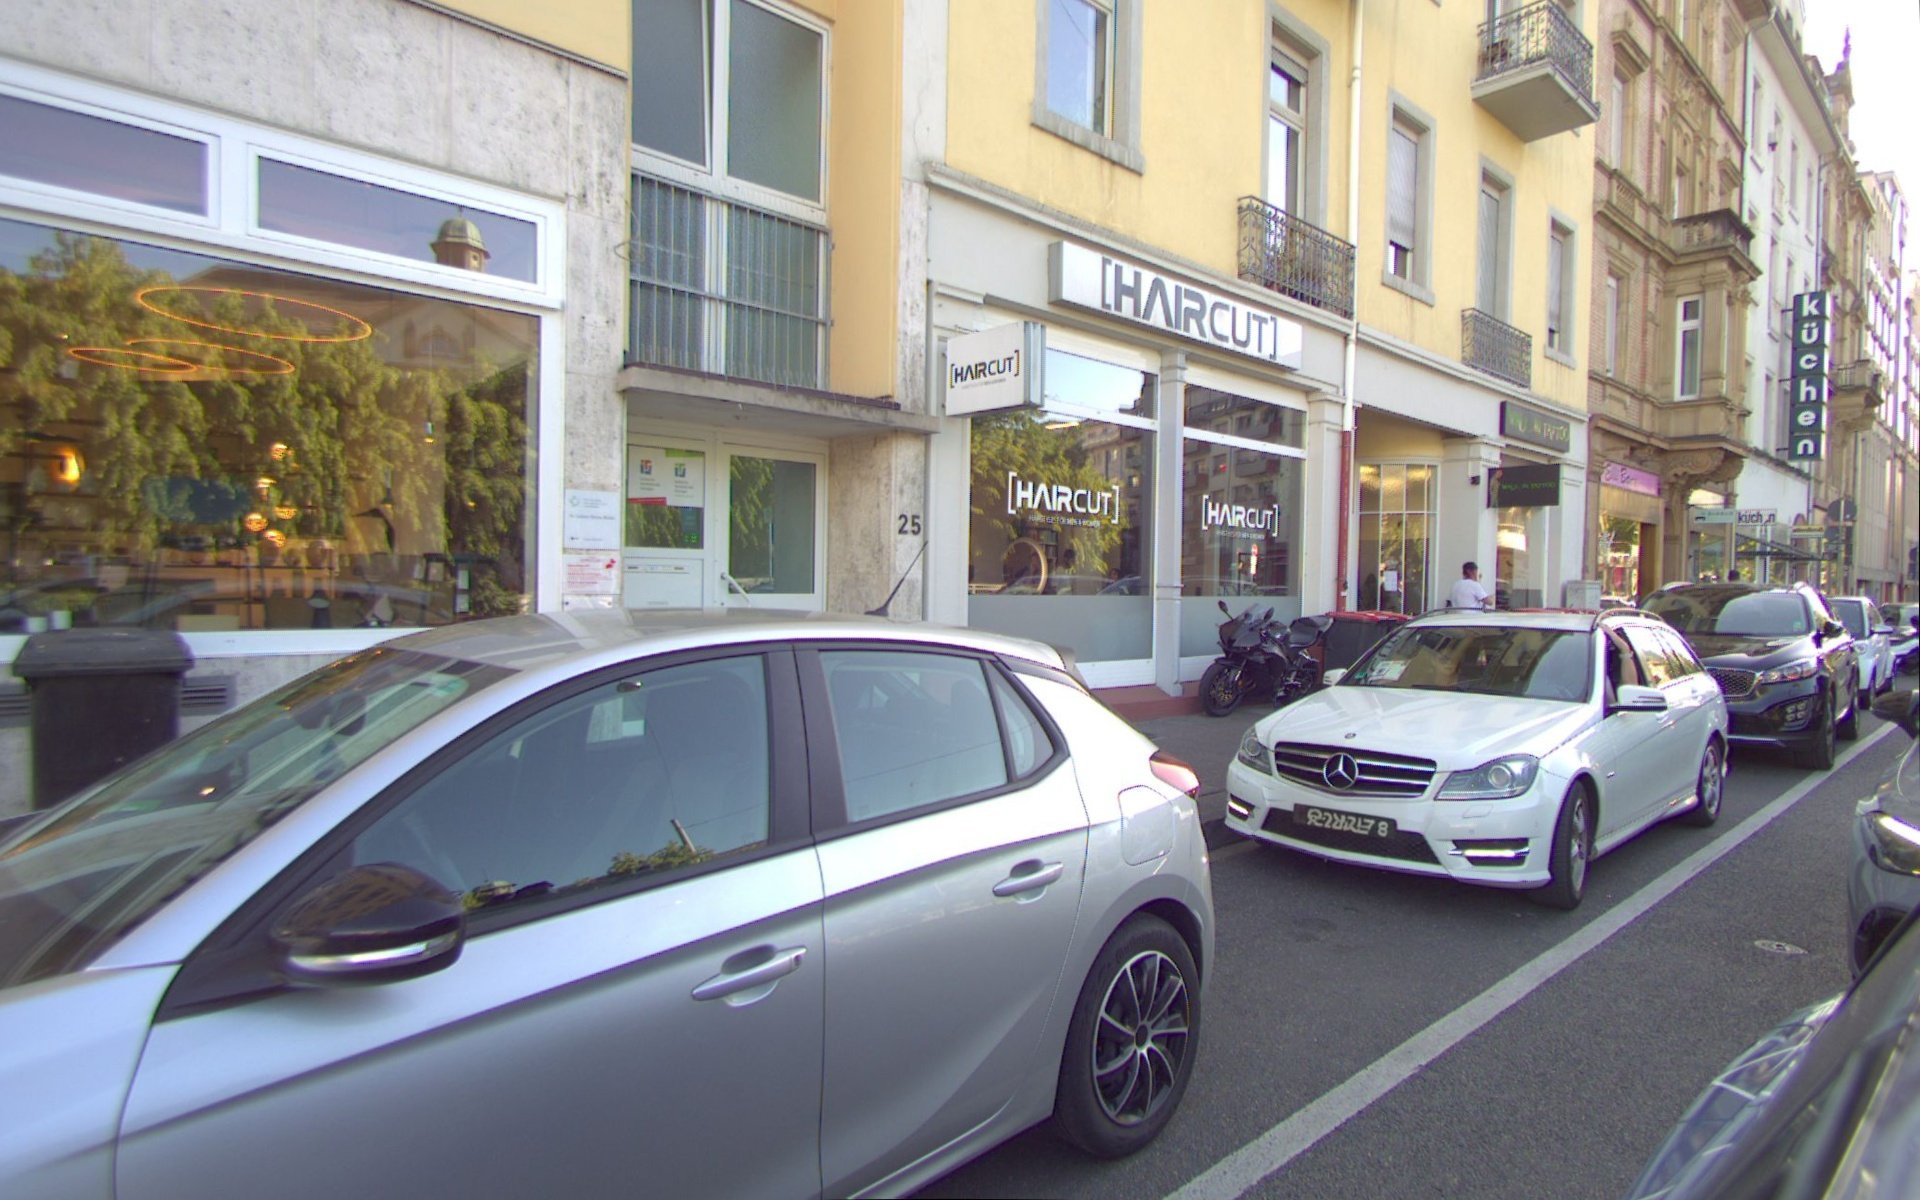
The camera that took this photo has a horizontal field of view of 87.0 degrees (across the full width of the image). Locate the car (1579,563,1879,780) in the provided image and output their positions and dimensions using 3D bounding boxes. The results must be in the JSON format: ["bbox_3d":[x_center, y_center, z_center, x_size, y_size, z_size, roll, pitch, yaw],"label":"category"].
[{"bbox_3d":[8.014,0.540,10.352,1.853,1.719,4.623,1,1,45],"label":"car"}]

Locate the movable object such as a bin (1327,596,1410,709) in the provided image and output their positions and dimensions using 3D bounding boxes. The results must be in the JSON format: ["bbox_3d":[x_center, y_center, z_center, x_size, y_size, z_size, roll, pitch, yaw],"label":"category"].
[{"bbox_3d":[4.645,0.576,11.518,0.633,1.222,0.647,0,0,-40],"label":"movable object such as a bin"}]

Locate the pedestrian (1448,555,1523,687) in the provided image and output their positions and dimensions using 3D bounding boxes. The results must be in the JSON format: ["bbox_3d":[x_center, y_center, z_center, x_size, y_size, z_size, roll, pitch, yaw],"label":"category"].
[{"bbox_3d":[6.735,0.251,12.972,0.689,1.637,0.641,0,0,-42],"label":"pedestrian"}]

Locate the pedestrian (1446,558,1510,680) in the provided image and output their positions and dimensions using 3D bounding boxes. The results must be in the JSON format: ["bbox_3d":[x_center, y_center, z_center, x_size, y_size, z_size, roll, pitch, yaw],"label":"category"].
[{"bbox_3d":[7.128,0.246,13.925,0.631,1.637,0.572,0,0,-40],"label":"pedestrian"}]

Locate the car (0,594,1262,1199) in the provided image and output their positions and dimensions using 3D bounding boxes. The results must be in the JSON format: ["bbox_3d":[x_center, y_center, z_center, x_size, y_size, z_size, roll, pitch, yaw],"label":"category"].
[{"bbox_3d":[-1.022,0.704,2.336,3.642,1.415,1.652,0,1,-42],"label":"car"}]

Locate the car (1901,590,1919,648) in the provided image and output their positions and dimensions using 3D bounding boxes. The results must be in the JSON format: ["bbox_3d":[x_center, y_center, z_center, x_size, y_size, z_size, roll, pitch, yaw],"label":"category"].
[{"bbox_3d":[26.407,0.490,26.882,3.931,1.504,1.713,0,1,-42],"label":"car"}]

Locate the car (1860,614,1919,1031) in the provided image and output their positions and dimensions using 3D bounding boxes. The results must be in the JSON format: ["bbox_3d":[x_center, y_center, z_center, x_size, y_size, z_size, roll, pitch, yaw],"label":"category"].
[{"bbox_3d":[5.340,0.775,4.301,4.183,1.396,1.846,0,1,-42],"label":"car"}]

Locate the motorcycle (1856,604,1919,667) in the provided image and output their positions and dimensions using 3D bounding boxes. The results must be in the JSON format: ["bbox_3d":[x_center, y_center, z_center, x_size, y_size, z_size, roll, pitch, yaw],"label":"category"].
[{"bbox_3d":[19.295,0.716,20.538,1.514,1.248,0.771,1,0,1],"label":"motorcycle"}]

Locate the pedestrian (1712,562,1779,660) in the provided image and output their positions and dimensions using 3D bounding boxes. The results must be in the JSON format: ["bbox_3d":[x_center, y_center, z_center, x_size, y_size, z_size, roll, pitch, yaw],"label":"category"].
[{"bbox_3d":[13.596,0.177,17.512,0.750,1.637,0.794,0,1,-43],"label":"pedestrian"}]

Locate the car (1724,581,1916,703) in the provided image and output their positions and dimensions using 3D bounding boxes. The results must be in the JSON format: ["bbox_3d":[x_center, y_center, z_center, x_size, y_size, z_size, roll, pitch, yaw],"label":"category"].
[{"bbox_3d":[12.687,0.536,14.895,2.965,1.587,1.695,0,1,-40],"label":"car"}]

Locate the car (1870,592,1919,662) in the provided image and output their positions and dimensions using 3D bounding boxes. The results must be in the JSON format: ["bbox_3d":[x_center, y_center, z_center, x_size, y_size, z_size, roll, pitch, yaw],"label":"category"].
[{"bbox_3d":[22.199,0.575,23.104,3.931,1.504,1.713,0,1,-42],"label":"car"}]

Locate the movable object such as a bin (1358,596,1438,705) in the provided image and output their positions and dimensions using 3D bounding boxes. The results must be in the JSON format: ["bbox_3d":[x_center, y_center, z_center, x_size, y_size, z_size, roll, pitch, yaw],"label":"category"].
[{"bbox_3d":[5.155,0.570,11.907,0.633,1.222,0.647,0,0,-40],"label":"movable object such as a bin"}]

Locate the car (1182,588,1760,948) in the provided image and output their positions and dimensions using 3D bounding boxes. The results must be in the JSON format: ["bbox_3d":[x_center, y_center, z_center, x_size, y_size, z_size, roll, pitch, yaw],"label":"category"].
[{"bbox_3d":[3.471,0.683,6.395,4.519,1.480,1.757,0,1,-42],"label":"car"}]

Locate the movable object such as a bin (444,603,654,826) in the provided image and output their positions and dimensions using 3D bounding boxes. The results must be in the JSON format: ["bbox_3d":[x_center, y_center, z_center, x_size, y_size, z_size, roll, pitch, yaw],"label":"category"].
[{"bbox_3d":[-2.249,0.566,5.542,0.878,1.066,0.752,0,1,-40],"label":"movable object such as a bin"}]

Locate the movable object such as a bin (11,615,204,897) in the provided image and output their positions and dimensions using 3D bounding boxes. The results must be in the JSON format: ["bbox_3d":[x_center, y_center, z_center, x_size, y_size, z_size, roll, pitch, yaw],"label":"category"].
[{"bbox_3d":[-3.664,0.603,4.371,0.591,1.041,0.812,0,1,-40],"label":"movable object such as a bin"}]

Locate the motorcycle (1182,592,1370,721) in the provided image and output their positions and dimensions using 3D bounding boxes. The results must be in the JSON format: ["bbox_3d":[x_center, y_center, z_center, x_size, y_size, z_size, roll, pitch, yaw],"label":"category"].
[{"bbox_3d":[3.330,0.527,10.544,2.208,1.179,0.773,0,4,-41],"label":"motorcycle"}]
